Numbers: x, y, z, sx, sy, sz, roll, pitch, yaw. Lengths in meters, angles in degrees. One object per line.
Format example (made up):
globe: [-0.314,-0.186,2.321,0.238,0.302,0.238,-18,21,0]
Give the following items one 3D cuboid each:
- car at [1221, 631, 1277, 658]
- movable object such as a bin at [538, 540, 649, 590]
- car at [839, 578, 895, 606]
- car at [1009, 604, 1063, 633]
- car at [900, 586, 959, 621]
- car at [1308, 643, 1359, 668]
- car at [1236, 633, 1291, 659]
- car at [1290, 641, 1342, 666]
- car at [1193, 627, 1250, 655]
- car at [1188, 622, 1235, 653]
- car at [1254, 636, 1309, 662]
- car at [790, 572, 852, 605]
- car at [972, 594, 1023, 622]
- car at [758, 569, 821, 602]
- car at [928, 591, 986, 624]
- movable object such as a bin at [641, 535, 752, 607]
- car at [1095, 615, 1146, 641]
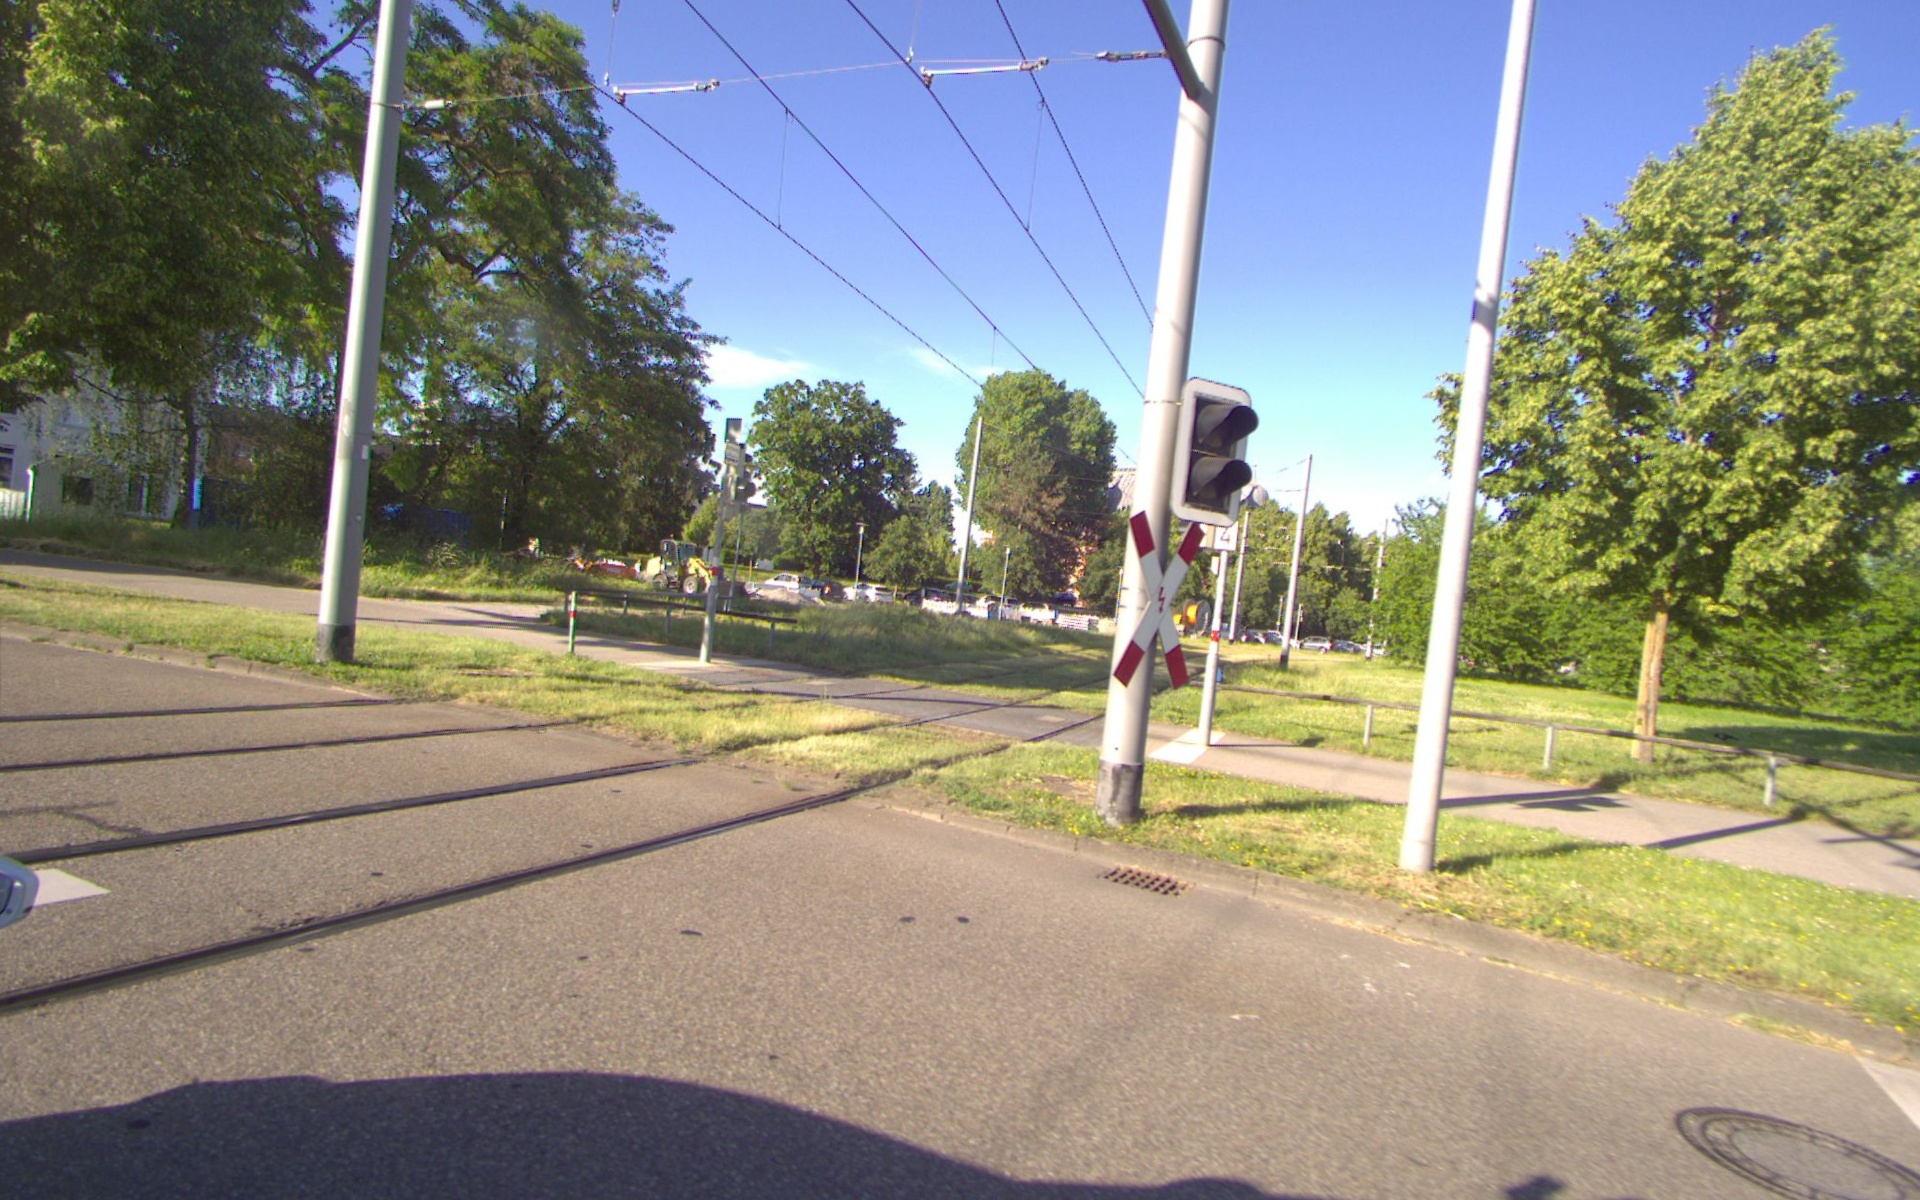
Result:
car: [24.128,3.696,83.950,1.903,1.777,3.950,7,-2,-45]
movable object such as a bin: [-19.395,-1.813,53.422,2.206,1.971,5.005,5,-2,37]
car: [-6.469,-0.567,69.649,1.822,1.575,3.761,7,-2,-43]
car: [6.267,1.514,82.850,1.989,1.982,3.950,7,-2,-45]
car: [-2.245,0.267,73.564,1.988,2.125,3.950,7,-1,-45]
car: [34.739,5.167,93.591,1.903,1.777,3.950,7,-2,-45]
car: [25.827,3.940,85.773,1.903,1.777,3.950,7,-2,-45]
car: [32.559,4.880,92.129,1.903,1.777,3.950,7,-2,-45]
car: [21.229,3.307,81.754,1.989,1.777,3.950,7,-2,-45]
car: [25.450,3.803,101.694,1.988,2.684,3.950,7,-1,-45]
car: [27.854,4.210,87.254,1.903,1.777,3.950,7,-2,-45]
car: [-9.249,-0.752,66.682,1.989,1.789,3.950,7,-2,-45]
car: [2.942,0.636,79.269,1.682,1.800,3.804,7,-1,-41]
car: [-11.133,-0.964,65.535,1.989,1.744,3.950,7,-2,-45]
car: [-0.258,0.552,75.694,1.988,2.125,3.950,7,-1,-45]
movable object such as a bin: [-12.250,-1.375,46.641,4.968,2.822,1.995,5,-1,35]
car: [14.539,2.501,91.268,1.989,1.919,3.950,7,-2,-45]
